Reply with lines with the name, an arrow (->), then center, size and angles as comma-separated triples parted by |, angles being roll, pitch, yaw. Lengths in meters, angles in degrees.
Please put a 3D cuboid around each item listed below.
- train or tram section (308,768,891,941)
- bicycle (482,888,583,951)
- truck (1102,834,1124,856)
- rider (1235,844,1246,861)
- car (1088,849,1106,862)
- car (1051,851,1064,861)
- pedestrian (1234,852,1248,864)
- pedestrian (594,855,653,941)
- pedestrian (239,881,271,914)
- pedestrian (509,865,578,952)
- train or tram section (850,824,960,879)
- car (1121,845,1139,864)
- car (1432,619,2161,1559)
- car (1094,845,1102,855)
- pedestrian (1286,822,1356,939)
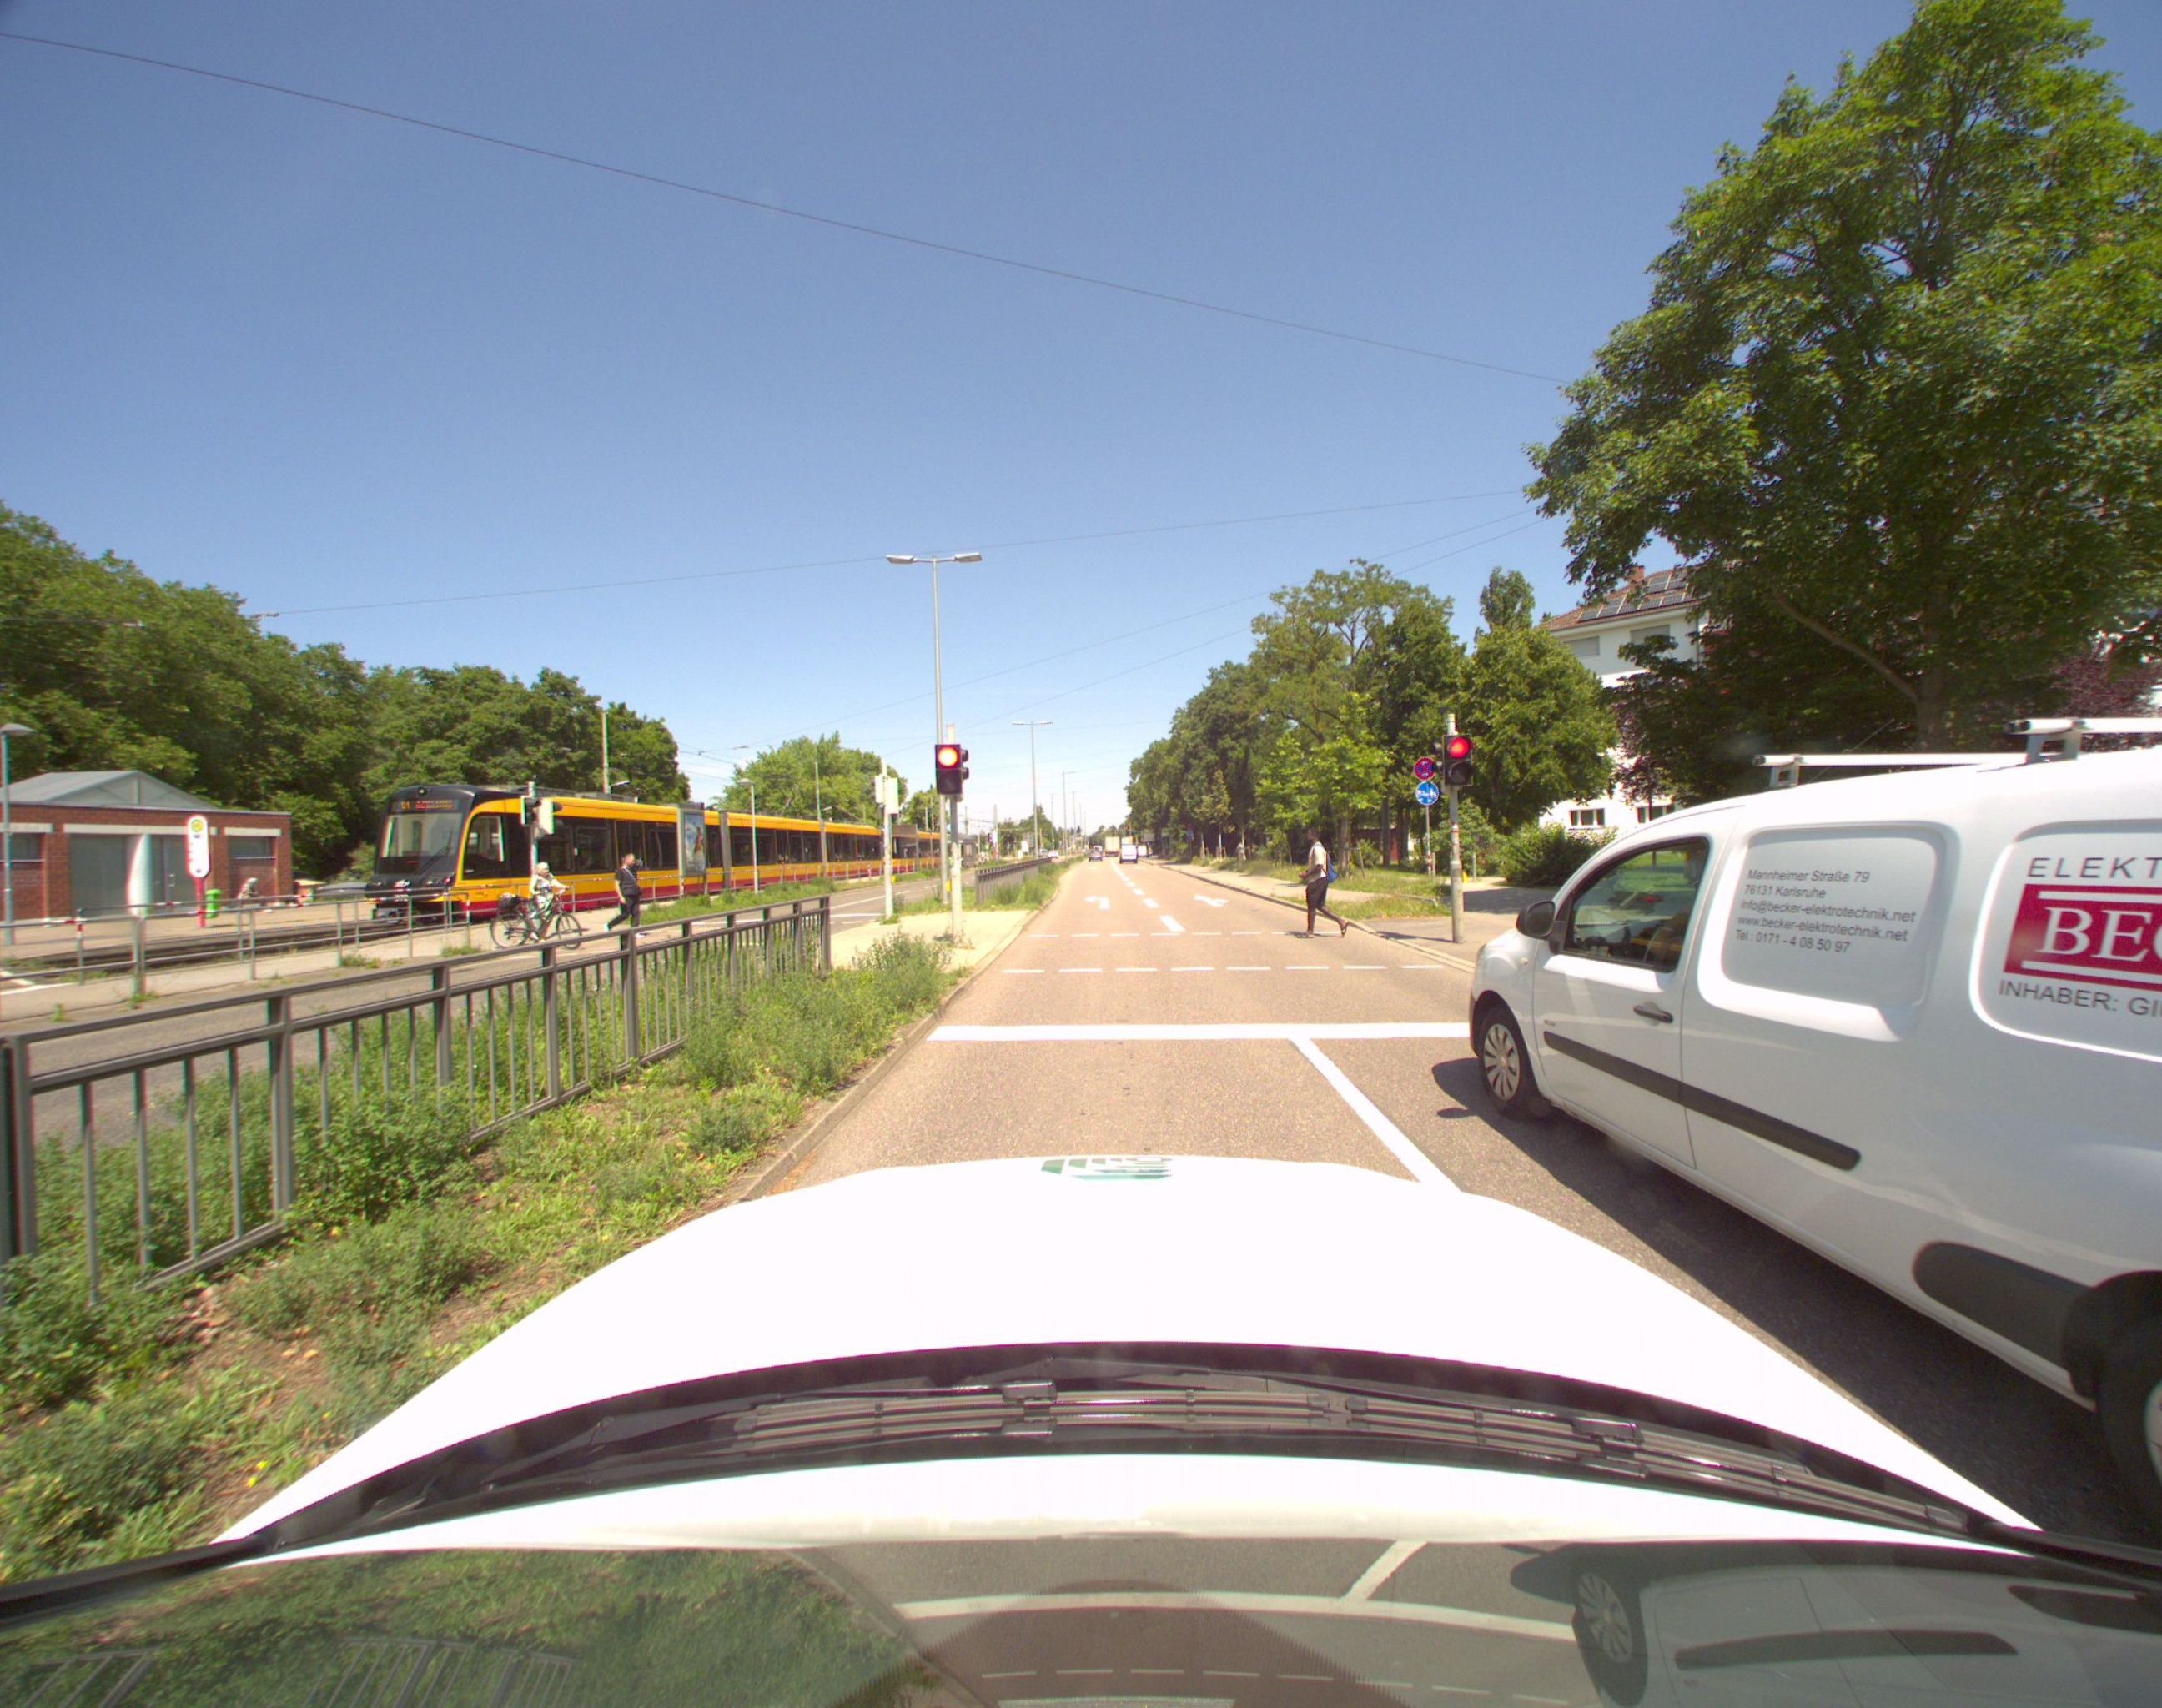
train or tram section -> -14.775, -0.076, 36.347 | 2.777, 3.668, 37.531 | -1, 0, 2
bicycle -> -10.479, 1.254, 15.550 | 1.853, 1.157, 0.243 | -1, 0, 6
truck -> 5.874, -1.680, 152.107 | 3.885, 3.812, 10.796 | -2, 0, 1
rider -> 11.703, -0.102, 59.706 | 0.675, 1.281, 0.534 | -1, 0, 1
car -> 2.008, 0.167, 99.506 | 1.793, 1.486, 4.007 | 2, 1, 6
car -> -4.277, 0.323, 148.754 | 1.986, 1.650, 4.001 | -2, 0, 1
pedestrian -> 11.721, 0.272, 59.712 | 0.675, 0.847, 1.774 | -1, 0, 1
pedestrian -> -9.930, 0.926, 17.672 | 0.949, 1.796, 0.710 | -1, 0, 30
pedestrian -> -26.912, 1.404, 26.528 | 0.479, 1.018, 0.523 | -2, 0, 3
pedestrian -> -10.474, 1.041, 15.887 | 0.815, 1.628, 0.707 | -1, 0, 7
train or tram section -> -13.865, -0.239, 68.112 | 2.777, 3.668, 26.008 | -1, 0, 2
car -> 4.831, 0.023, 80.519 | 1.720, 1.813, 4.004 | 0, 1, 3
car -> 3.130, 0.454, 3.095 | 1.817, 1.881, 4.458 | -1, 0, 2
car -> 3.530, -0.883, 168.354 | 1.681, 1.897, 3.871 | -2, 0, 1
pedestrian -> 3.923, 0.418, 13.332 | 1.038, 1.850, 0.760 | -1, 0, 16
